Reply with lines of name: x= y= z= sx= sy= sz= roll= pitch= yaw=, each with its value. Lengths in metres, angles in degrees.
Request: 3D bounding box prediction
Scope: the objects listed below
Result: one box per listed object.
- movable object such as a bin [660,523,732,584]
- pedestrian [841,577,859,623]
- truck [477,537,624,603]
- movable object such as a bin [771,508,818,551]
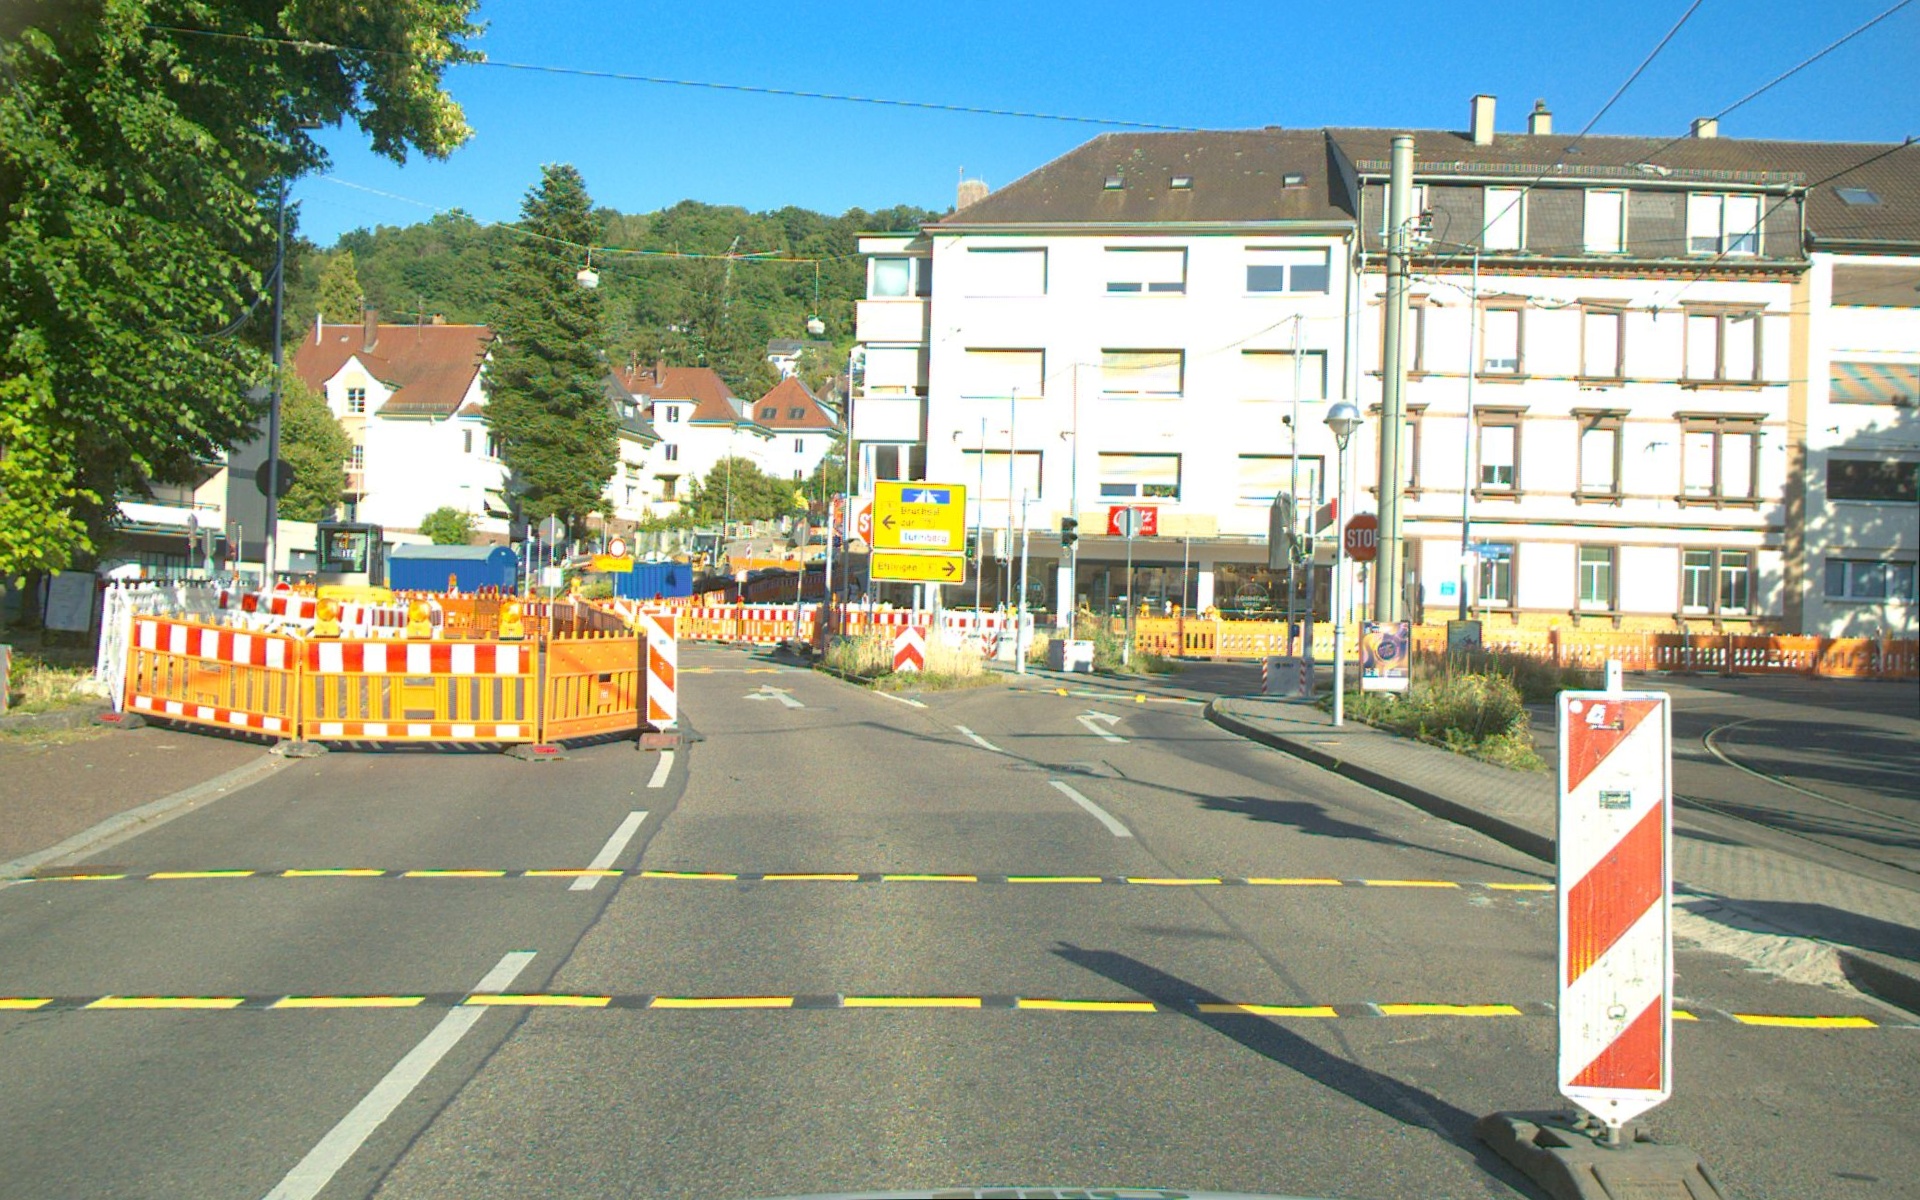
movable object such as a bin: x=-12.574 y=-2.203 z=79.082 sx=2.144 sy=2.737 sz=4.003 roll=1 pitch=0 yaw=9
pedestrian: x=-4.373 y=-0.010 z=65.890 sx=0.627 sy=1.791 sz=0.718 roll=1 pitch=0 yaw=-1
truck: x=-16.744 y=-1.151 z=68.397 sx=2.306 sy=2.458 sz=9.159 roll=1 pitch=0 yaw=10
movable object such as a bin: x=-11.325 y=-4.842 z=113.632 sx=2.144 sy=2.737 sz=4.003 roll=1 pitch=0 yaw=9
